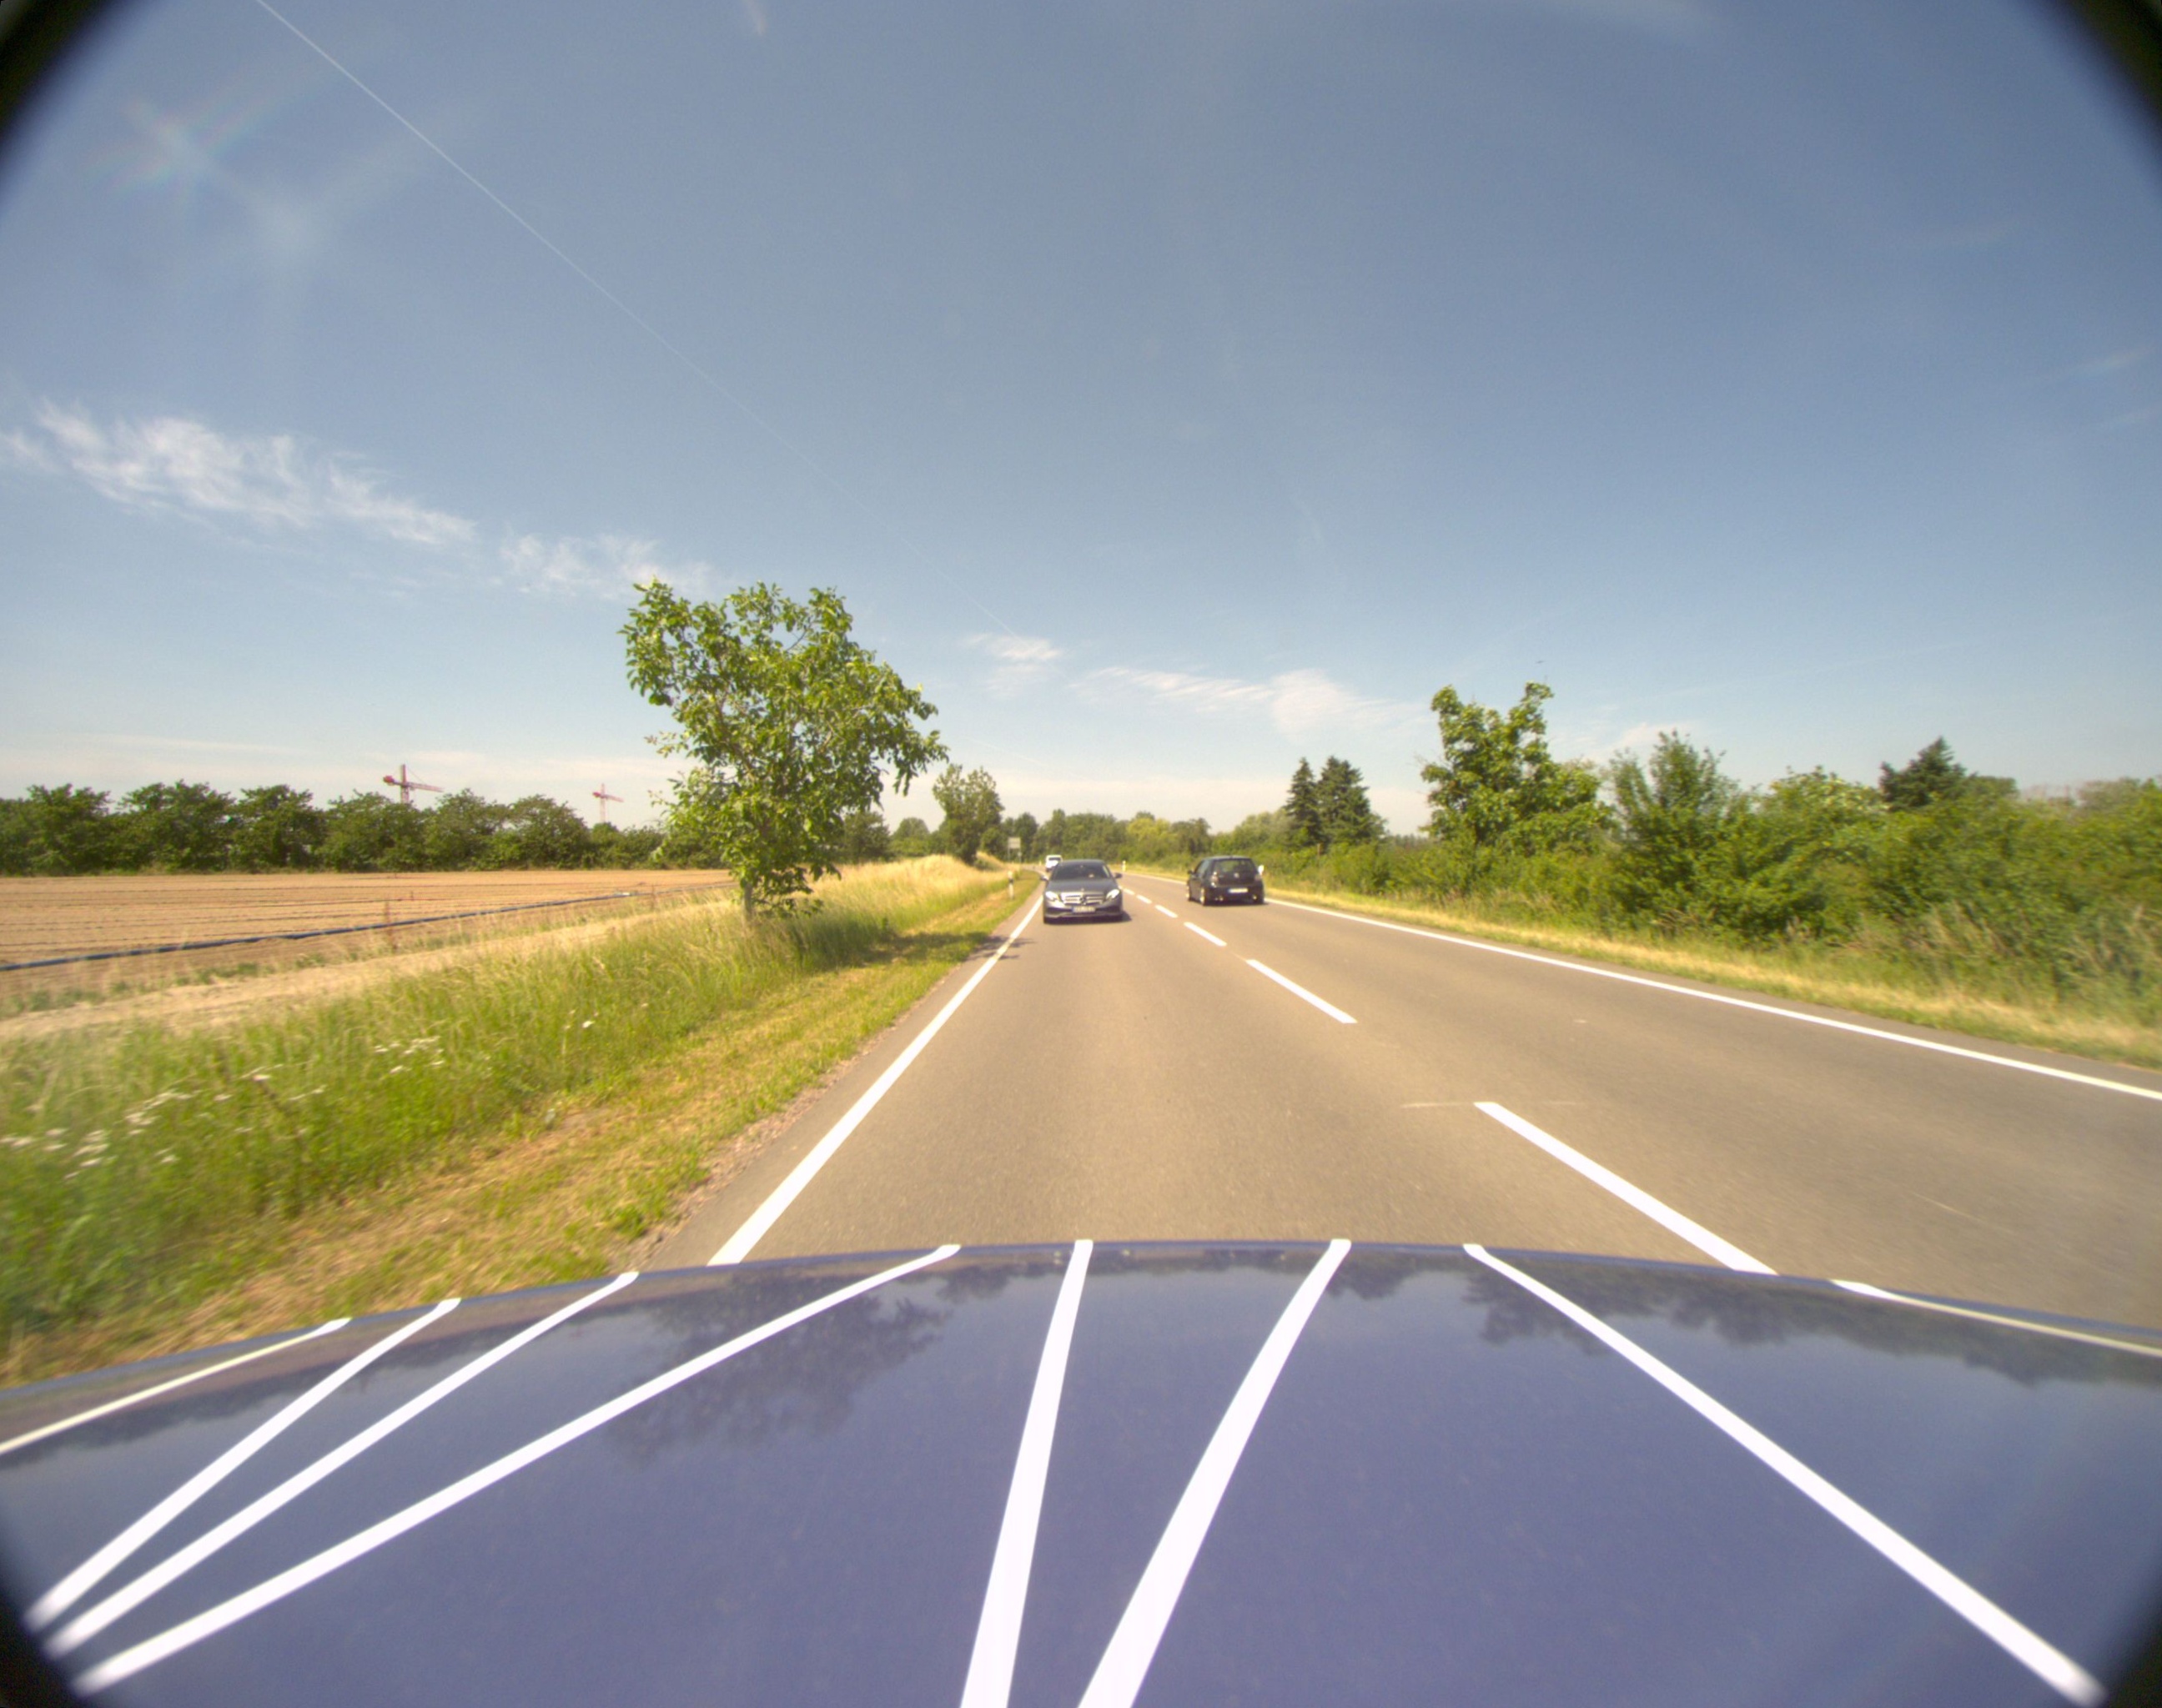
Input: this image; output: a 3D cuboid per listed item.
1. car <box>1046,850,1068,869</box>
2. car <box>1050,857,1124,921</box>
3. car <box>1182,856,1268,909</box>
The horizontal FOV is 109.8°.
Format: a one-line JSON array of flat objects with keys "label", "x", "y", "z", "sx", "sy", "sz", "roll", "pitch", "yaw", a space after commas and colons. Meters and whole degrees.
[{"label": "car", "x": -2.789, "y": 0.641, "z": 86.801, "sx": 2.180, "sy": 2.002, "sz": 5.023, "roll": -3, "pitch": 0, "yaw": -4}, {"label": "car", "x": 0.151, "y": 0.879, "z": 21.274, "sx": 1.831, "sy": 1.540, "sz": 4.498, "roll": -2, "pitch": 0, "yaw": 0}, {"label": "car", "x": 4.204, "y": 0.774, "z": 22.736, "sx": 1.697, "sy": 1.355, "sz": 3.825, "roll": -2, "pitch": 1, "yaw": -2}]
